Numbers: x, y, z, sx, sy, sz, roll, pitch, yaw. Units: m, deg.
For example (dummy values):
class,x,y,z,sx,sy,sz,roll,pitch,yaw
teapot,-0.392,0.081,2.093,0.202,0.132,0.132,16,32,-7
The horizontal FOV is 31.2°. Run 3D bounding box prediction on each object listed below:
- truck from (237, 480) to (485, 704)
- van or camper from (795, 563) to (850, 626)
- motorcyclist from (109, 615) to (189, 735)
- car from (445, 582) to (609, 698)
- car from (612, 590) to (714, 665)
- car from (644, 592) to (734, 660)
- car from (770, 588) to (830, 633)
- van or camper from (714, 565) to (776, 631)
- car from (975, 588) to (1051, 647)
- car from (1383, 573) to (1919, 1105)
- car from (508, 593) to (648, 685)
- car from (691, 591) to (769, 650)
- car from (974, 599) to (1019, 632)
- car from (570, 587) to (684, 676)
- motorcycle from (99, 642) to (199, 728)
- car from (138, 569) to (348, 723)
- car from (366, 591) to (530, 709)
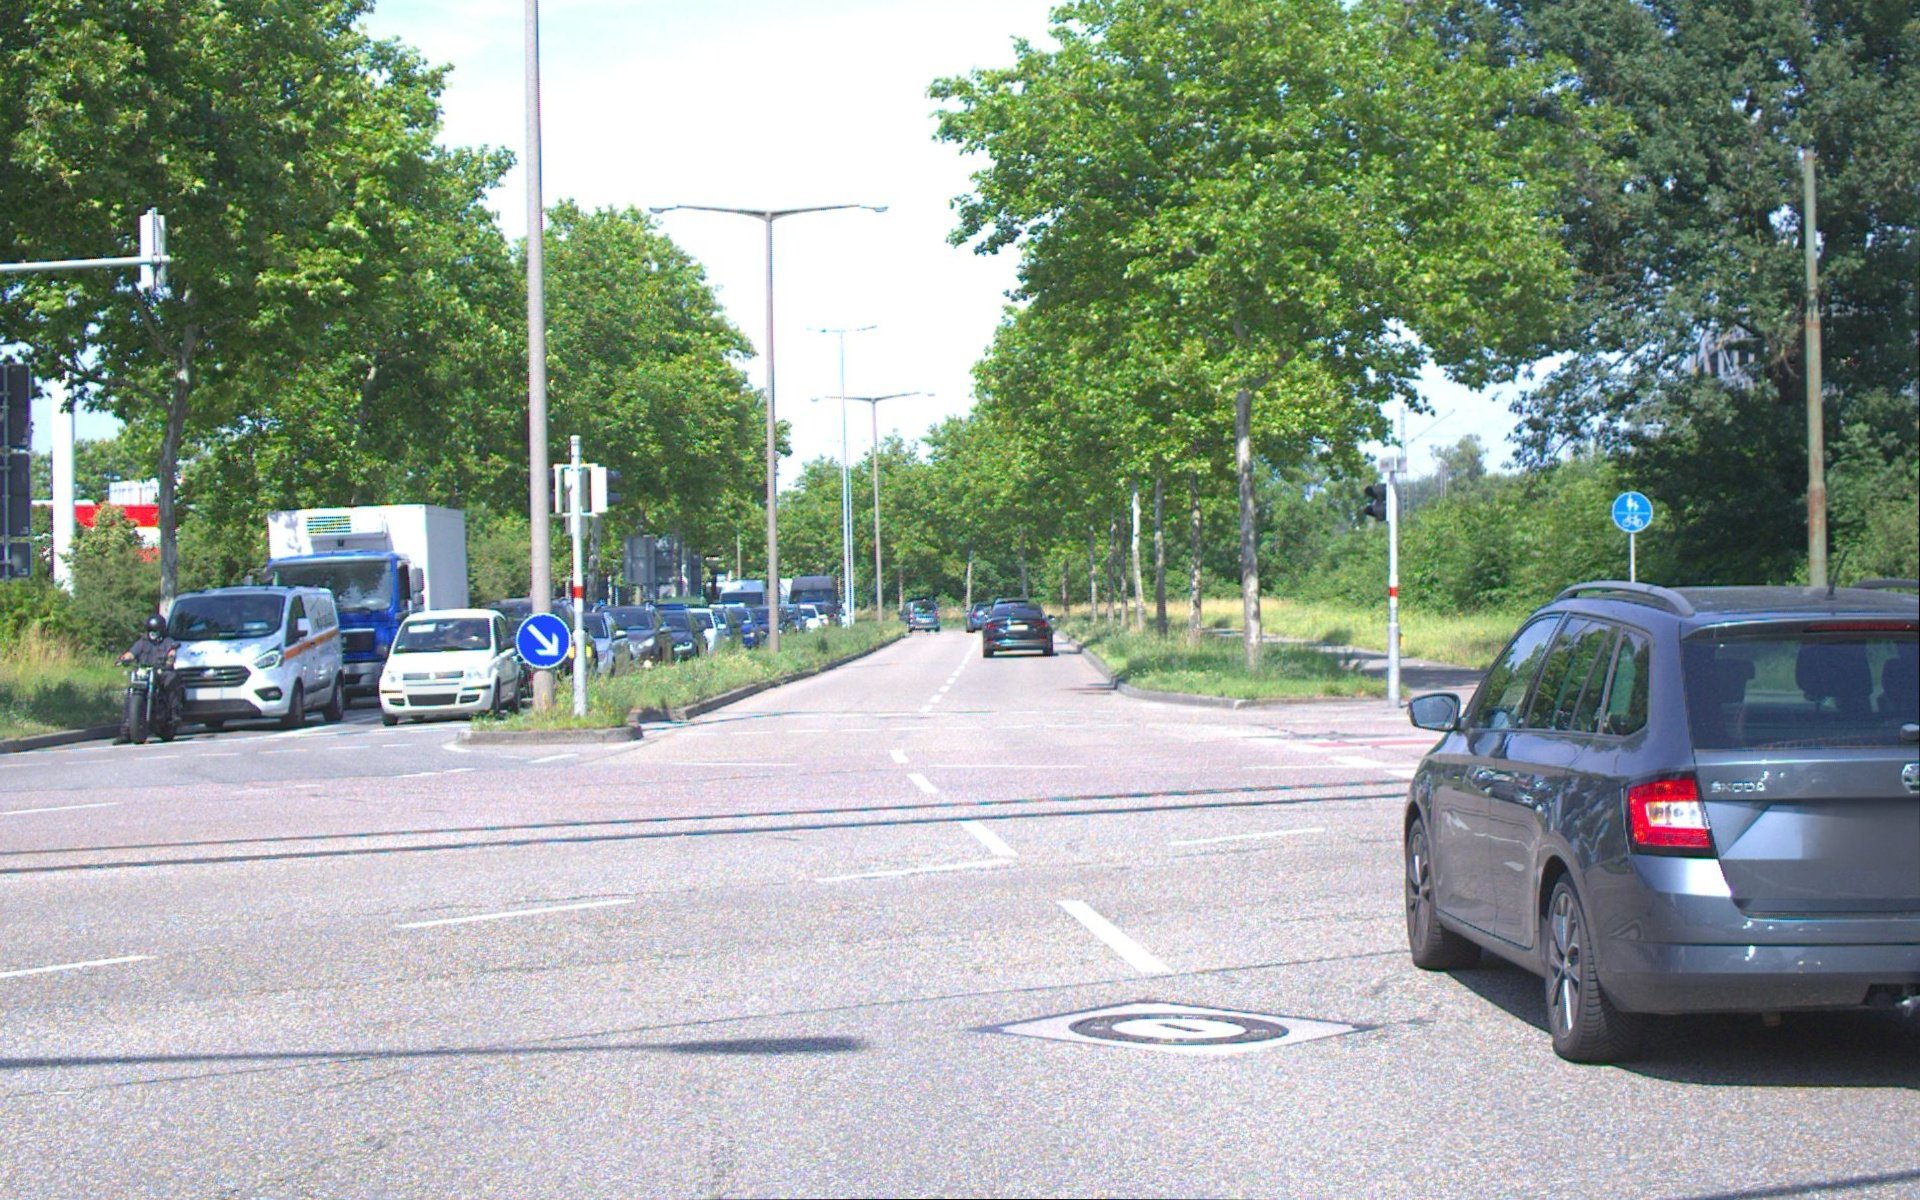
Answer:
class,x,y,z,sx,sy,sz,roll,pitch,yaw
truck,-10.011,-0.168,58.156,2.804,3.459,6.691,-3,1,1
van or camper,-5.373,-0.189,135.208,1.938,2.360,5.398,-2,0,-1
motorcyclist,-10.099,0.925,42.839,0.743,1.465,0.987,-1,0,1
car,-6.605,0.612,52.921,1.820,1.641,4.693,-2,-1,1
car,-6.340,0.568,73.736,1.689,1.468,4.218,-3,0,1
car,-6.237,0.575,79.372,1.689,1.467,3.814,-2,0,1
car,-5.552,0.359,119.691,1.784,1.454,4.472,-2,0,1
van or camper,-8.751,-0.117,140.489,2.015,2.579,5.517,-2,0,1
car,1.364,0.431,89.955,1.908,1.458,4.621,-1,0,0
car,2.583,0.646,11.458,1.674,1.448,4.036,1,0,-2
car,-6.599,0.646,59.817,1.797,1.463,4.522,-2,0,1
car,-6.131,0.531,92.069,1.784,1.484,4.211,-2,0,0
car,1.742,0.734,163.865,1.908,1.458,4.583,-1,1,-2
car,-6.394,0.578,66.363,1.689,1.581,4.240,-2,0,1
motorcycle,-10.066,1.045,42.745,0.688,0.988,2.217,-1,0,1
car,-9.885,0.585,47.761,1.976,1.992,5.032,-1,0,-2
car,-6.948,0.649,46.938,1.593,1.472,3.729,-2,0,1
